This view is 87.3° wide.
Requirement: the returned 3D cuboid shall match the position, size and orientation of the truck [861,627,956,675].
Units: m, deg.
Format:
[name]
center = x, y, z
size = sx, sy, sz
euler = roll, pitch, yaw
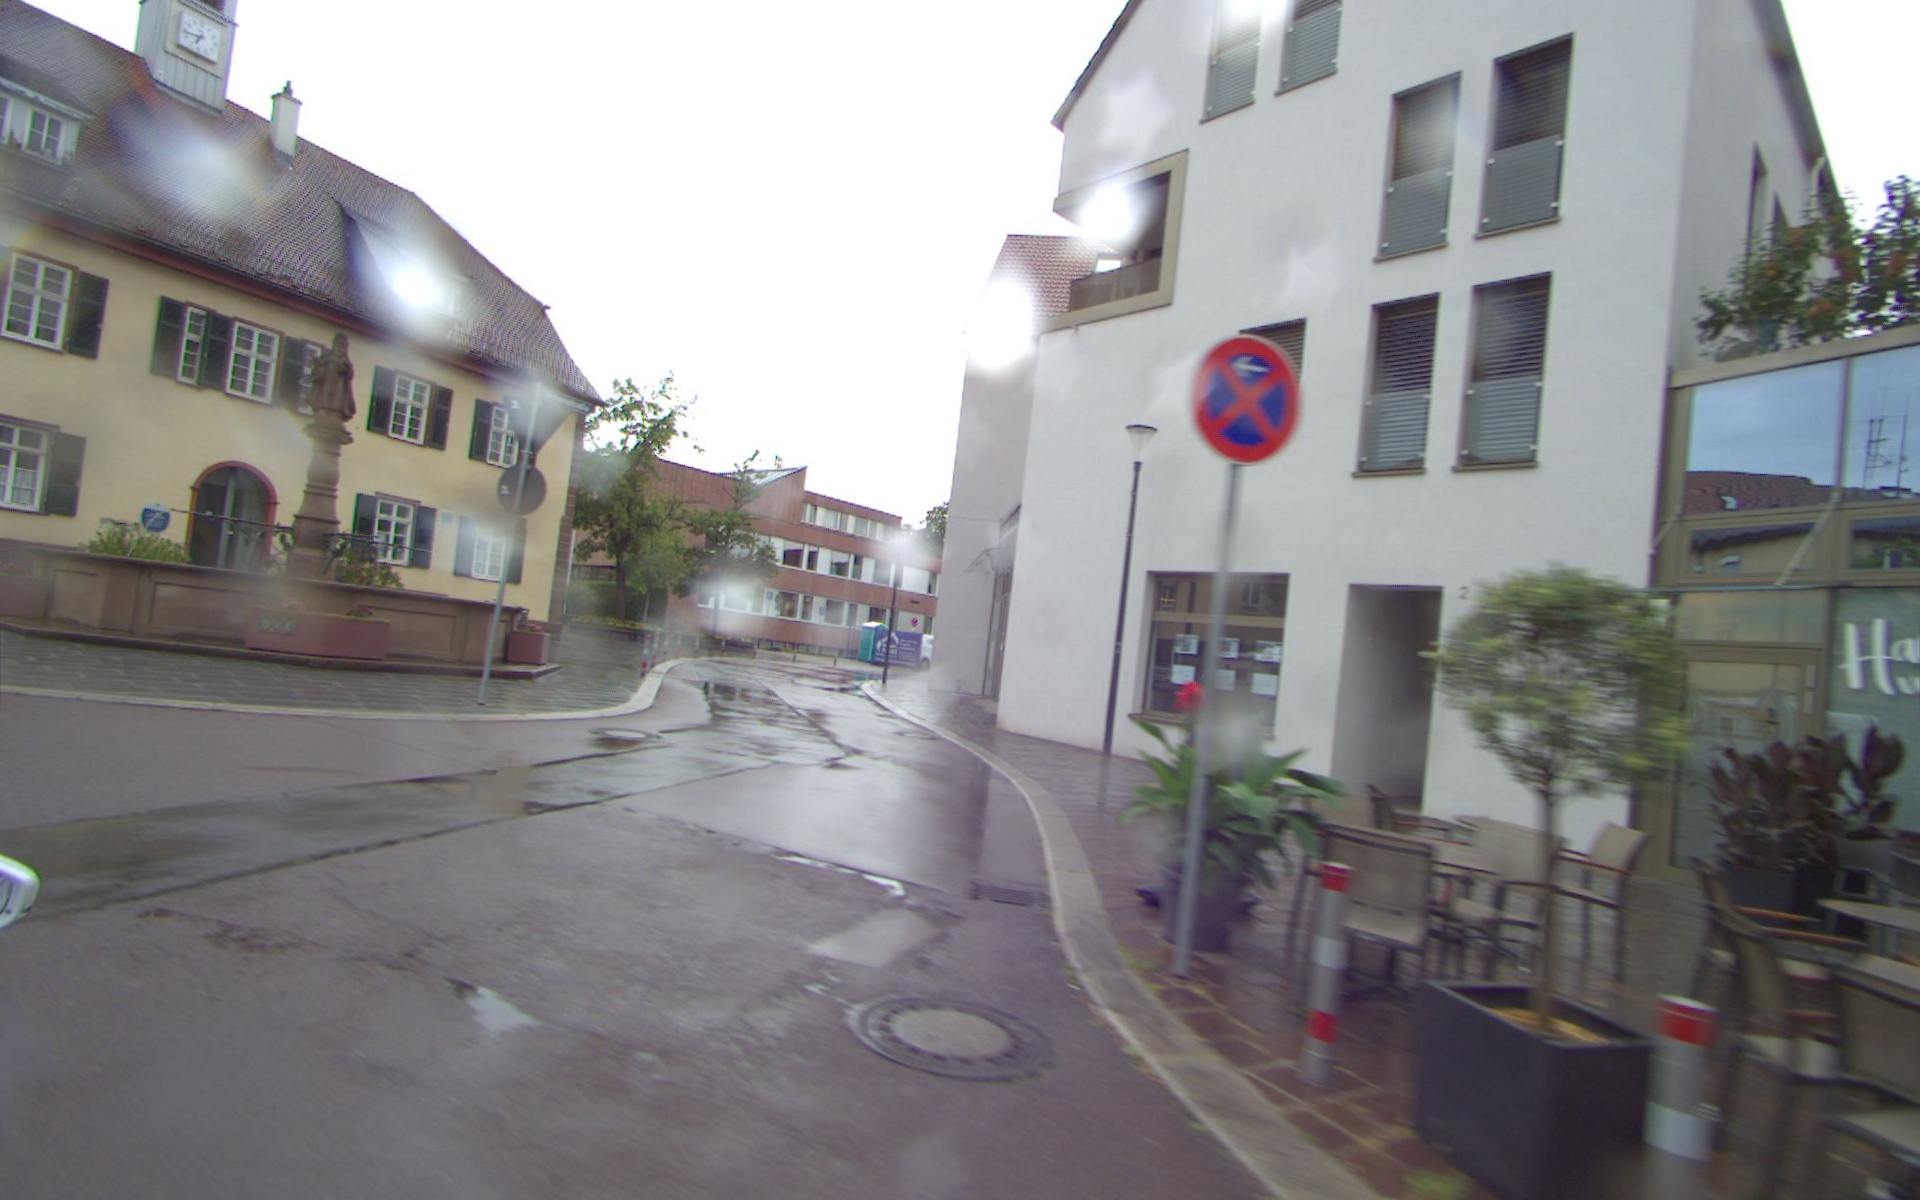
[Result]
[truck]
center = -2.808, 2.744, 54.342
size = 4.994, 2.081, 1.992
euler = 3, -4, 41
